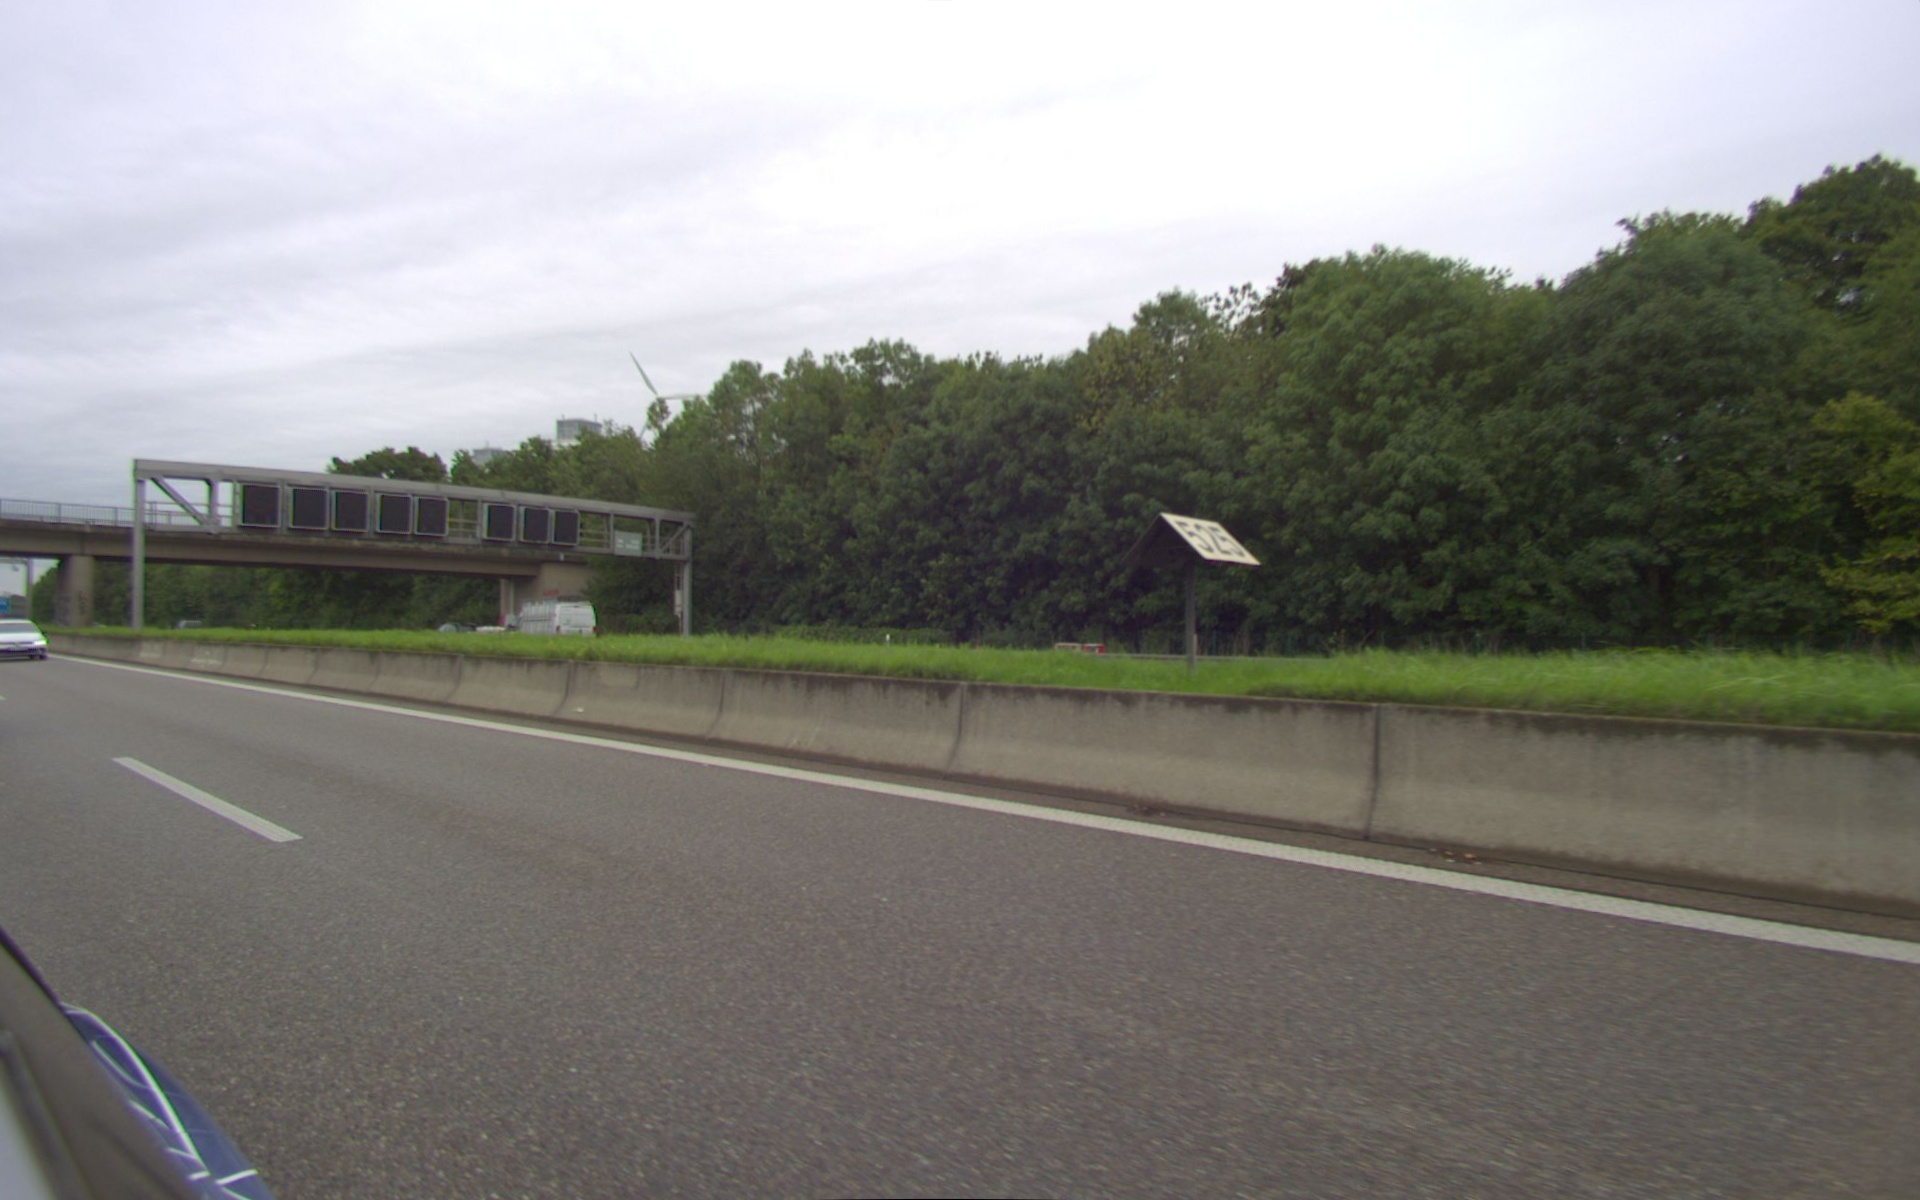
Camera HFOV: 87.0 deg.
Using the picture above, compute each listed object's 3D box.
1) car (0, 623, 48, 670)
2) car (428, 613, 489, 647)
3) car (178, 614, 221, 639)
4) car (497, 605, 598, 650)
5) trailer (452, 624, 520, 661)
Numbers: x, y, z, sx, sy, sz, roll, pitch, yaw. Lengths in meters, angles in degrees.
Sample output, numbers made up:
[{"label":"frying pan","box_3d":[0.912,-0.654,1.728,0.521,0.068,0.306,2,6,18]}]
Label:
[{"label":"car","box_3d":[-34.418,1.642,36.511,4.662,1.630,1.735,-1,-2,41]},{"label":"car","box_3d":[-31.934,1.854,64.376,4.364,2.029,1.973,-1,0,41]},{"label":"car","box_3d":[-61.013,2.111,81.160,3.998,1.954,1.973,-1,-1,41]},{"label":"car","box_3d":[-20.636,1.323,50.485,6.063,2.100,2.173,-1,0,41]},{"label":"trailer","box_3d":[-28.908,2.535,61.640,5.177,2.029,1.972,-1,0,43]}]
